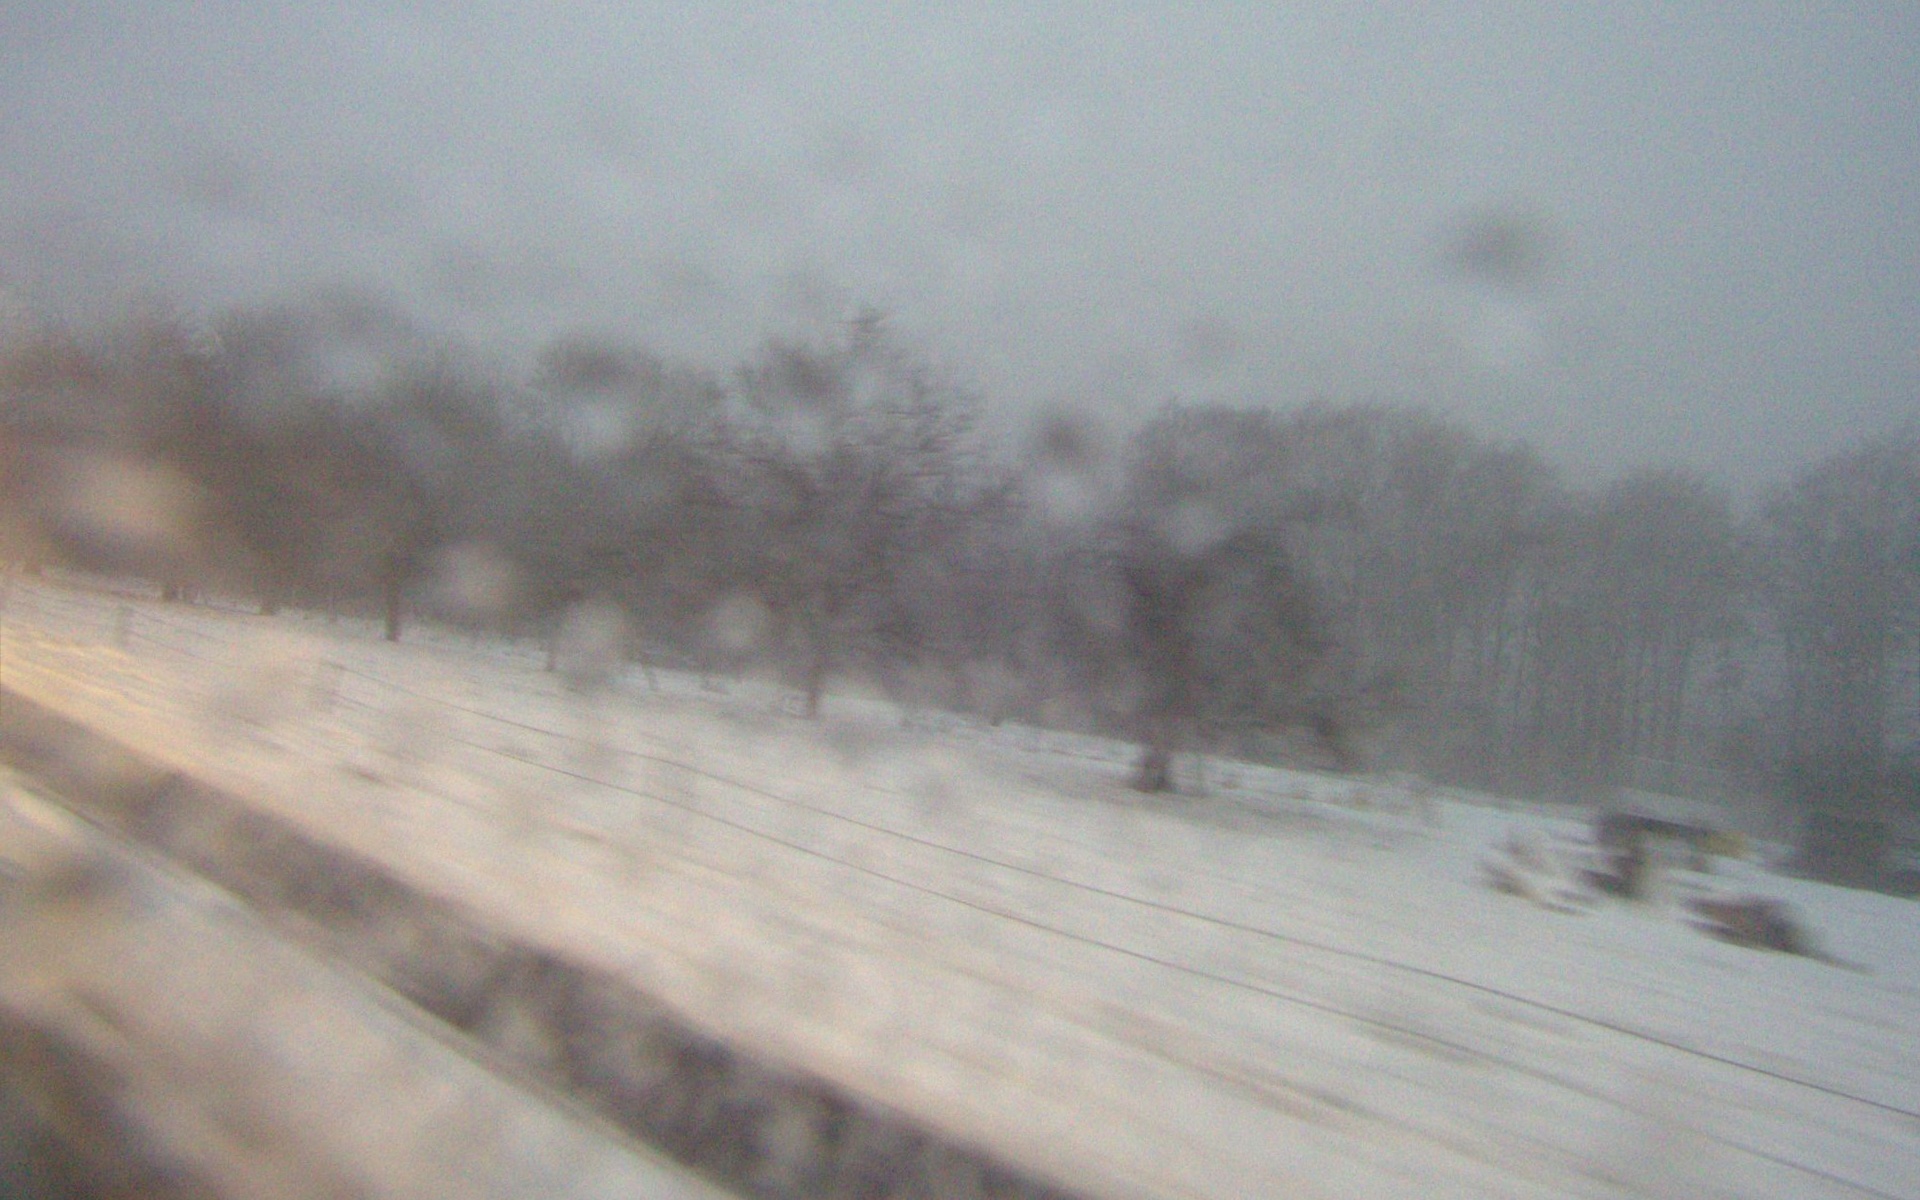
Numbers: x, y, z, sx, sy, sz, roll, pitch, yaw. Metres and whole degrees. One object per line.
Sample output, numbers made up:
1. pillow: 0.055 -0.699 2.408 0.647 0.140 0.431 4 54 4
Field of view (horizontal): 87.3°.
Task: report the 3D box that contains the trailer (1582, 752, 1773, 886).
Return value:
1. trailer: 14.711 4.395 20.970 2.184 1.963 4.761 8 -3 25
